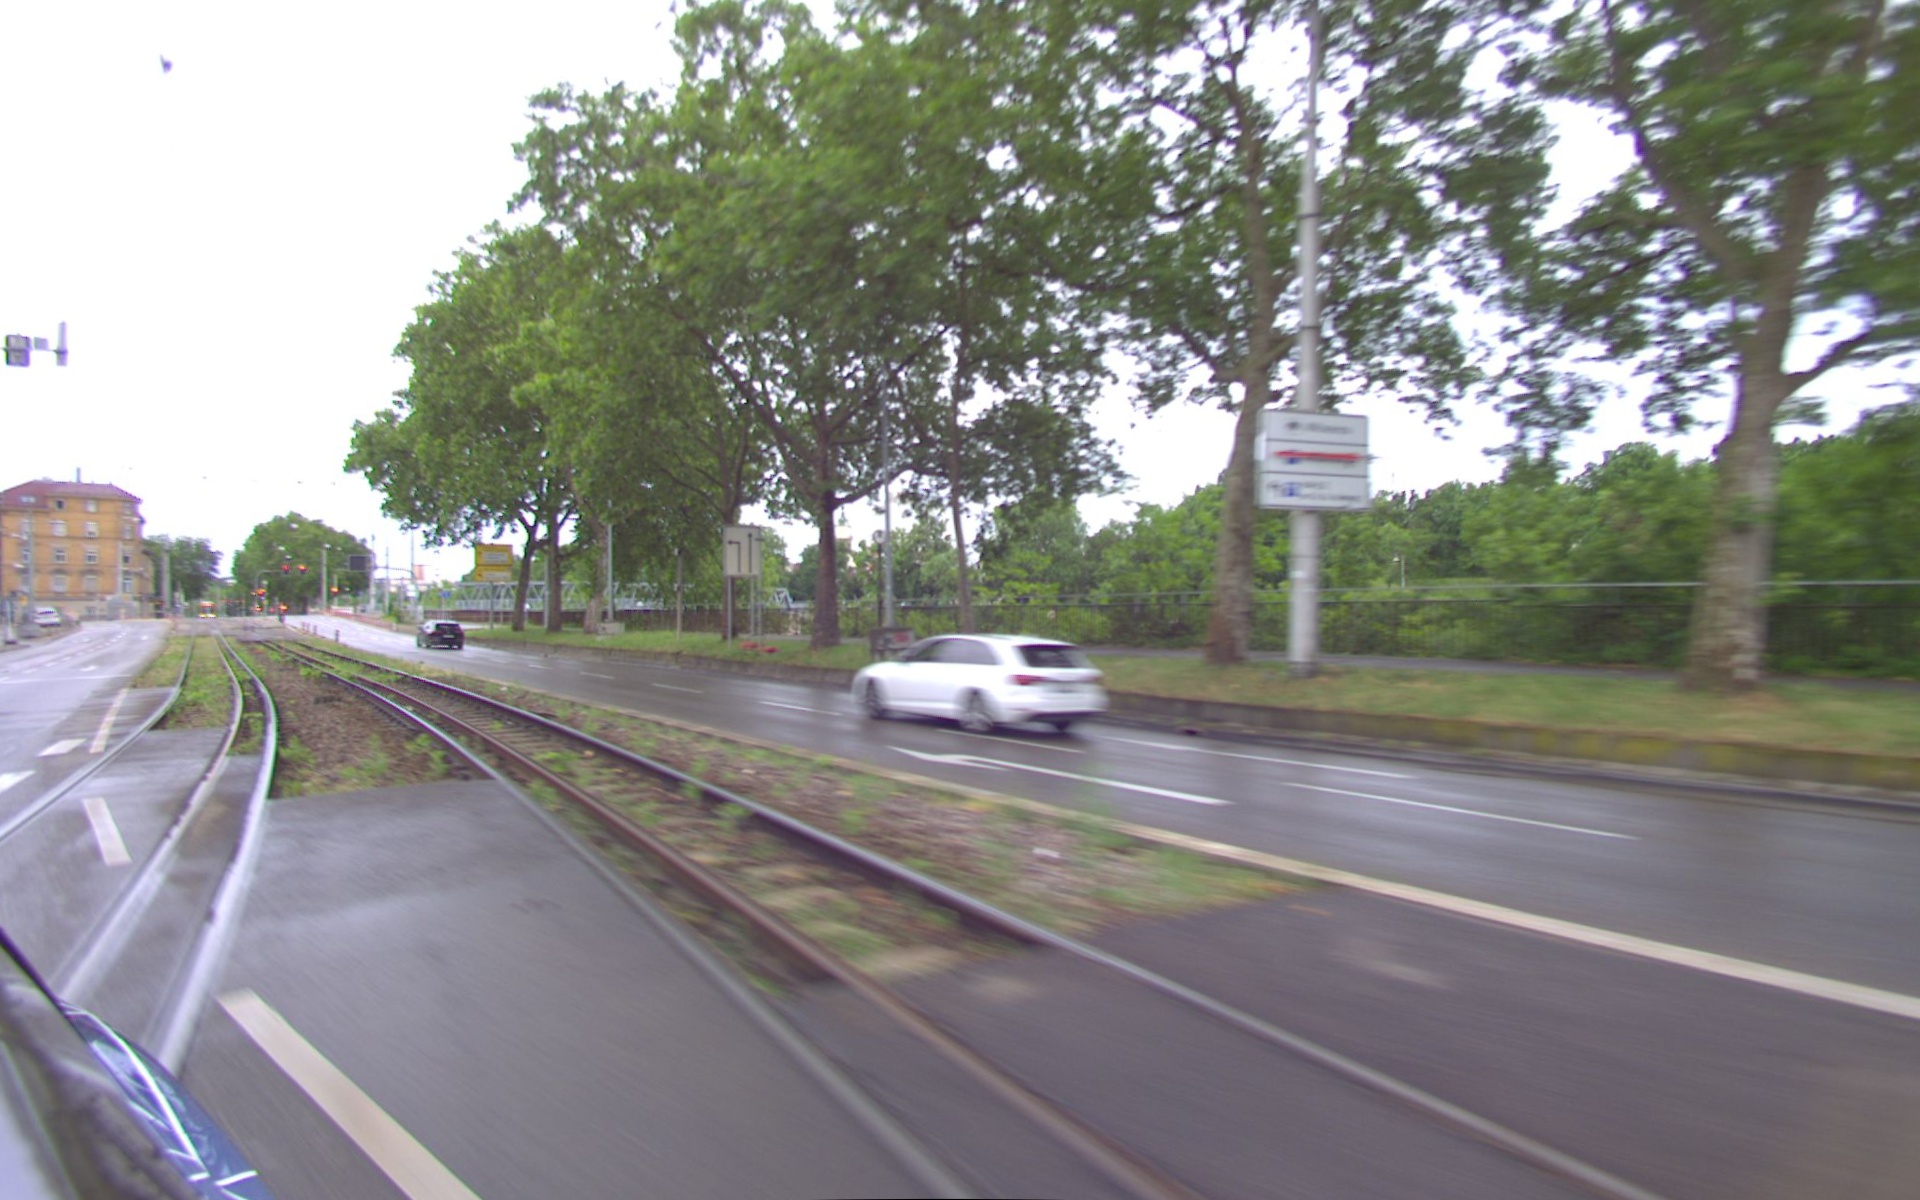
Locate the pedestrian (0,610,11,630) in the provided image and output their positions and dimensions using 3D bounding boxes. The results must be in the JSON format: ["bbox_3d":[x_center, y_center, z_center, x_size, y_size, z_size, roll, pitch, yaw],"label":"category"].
[{"bbox_3d":[-87.612,1.859,92.702,0.691,1.820,0.778,-1,1,12],"label":"pedestrian"}]

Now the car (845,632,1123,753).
[{"bbox_3d":[0.181,1.282,15.466,1.686,1.510,4.730,3,-3,-36],"label":"car"}]

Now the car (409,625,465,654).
[{"bbox_3d":[-27.180,2.004,52.509,1.724,1.441,4.569,2,-2,-38],"label":"car"}]

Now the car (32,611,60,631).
[{"bbox_3d":[-82.676,1.909,91.576,1.817,1.651,4.148,-4,2,-42],"label":"car"}]
